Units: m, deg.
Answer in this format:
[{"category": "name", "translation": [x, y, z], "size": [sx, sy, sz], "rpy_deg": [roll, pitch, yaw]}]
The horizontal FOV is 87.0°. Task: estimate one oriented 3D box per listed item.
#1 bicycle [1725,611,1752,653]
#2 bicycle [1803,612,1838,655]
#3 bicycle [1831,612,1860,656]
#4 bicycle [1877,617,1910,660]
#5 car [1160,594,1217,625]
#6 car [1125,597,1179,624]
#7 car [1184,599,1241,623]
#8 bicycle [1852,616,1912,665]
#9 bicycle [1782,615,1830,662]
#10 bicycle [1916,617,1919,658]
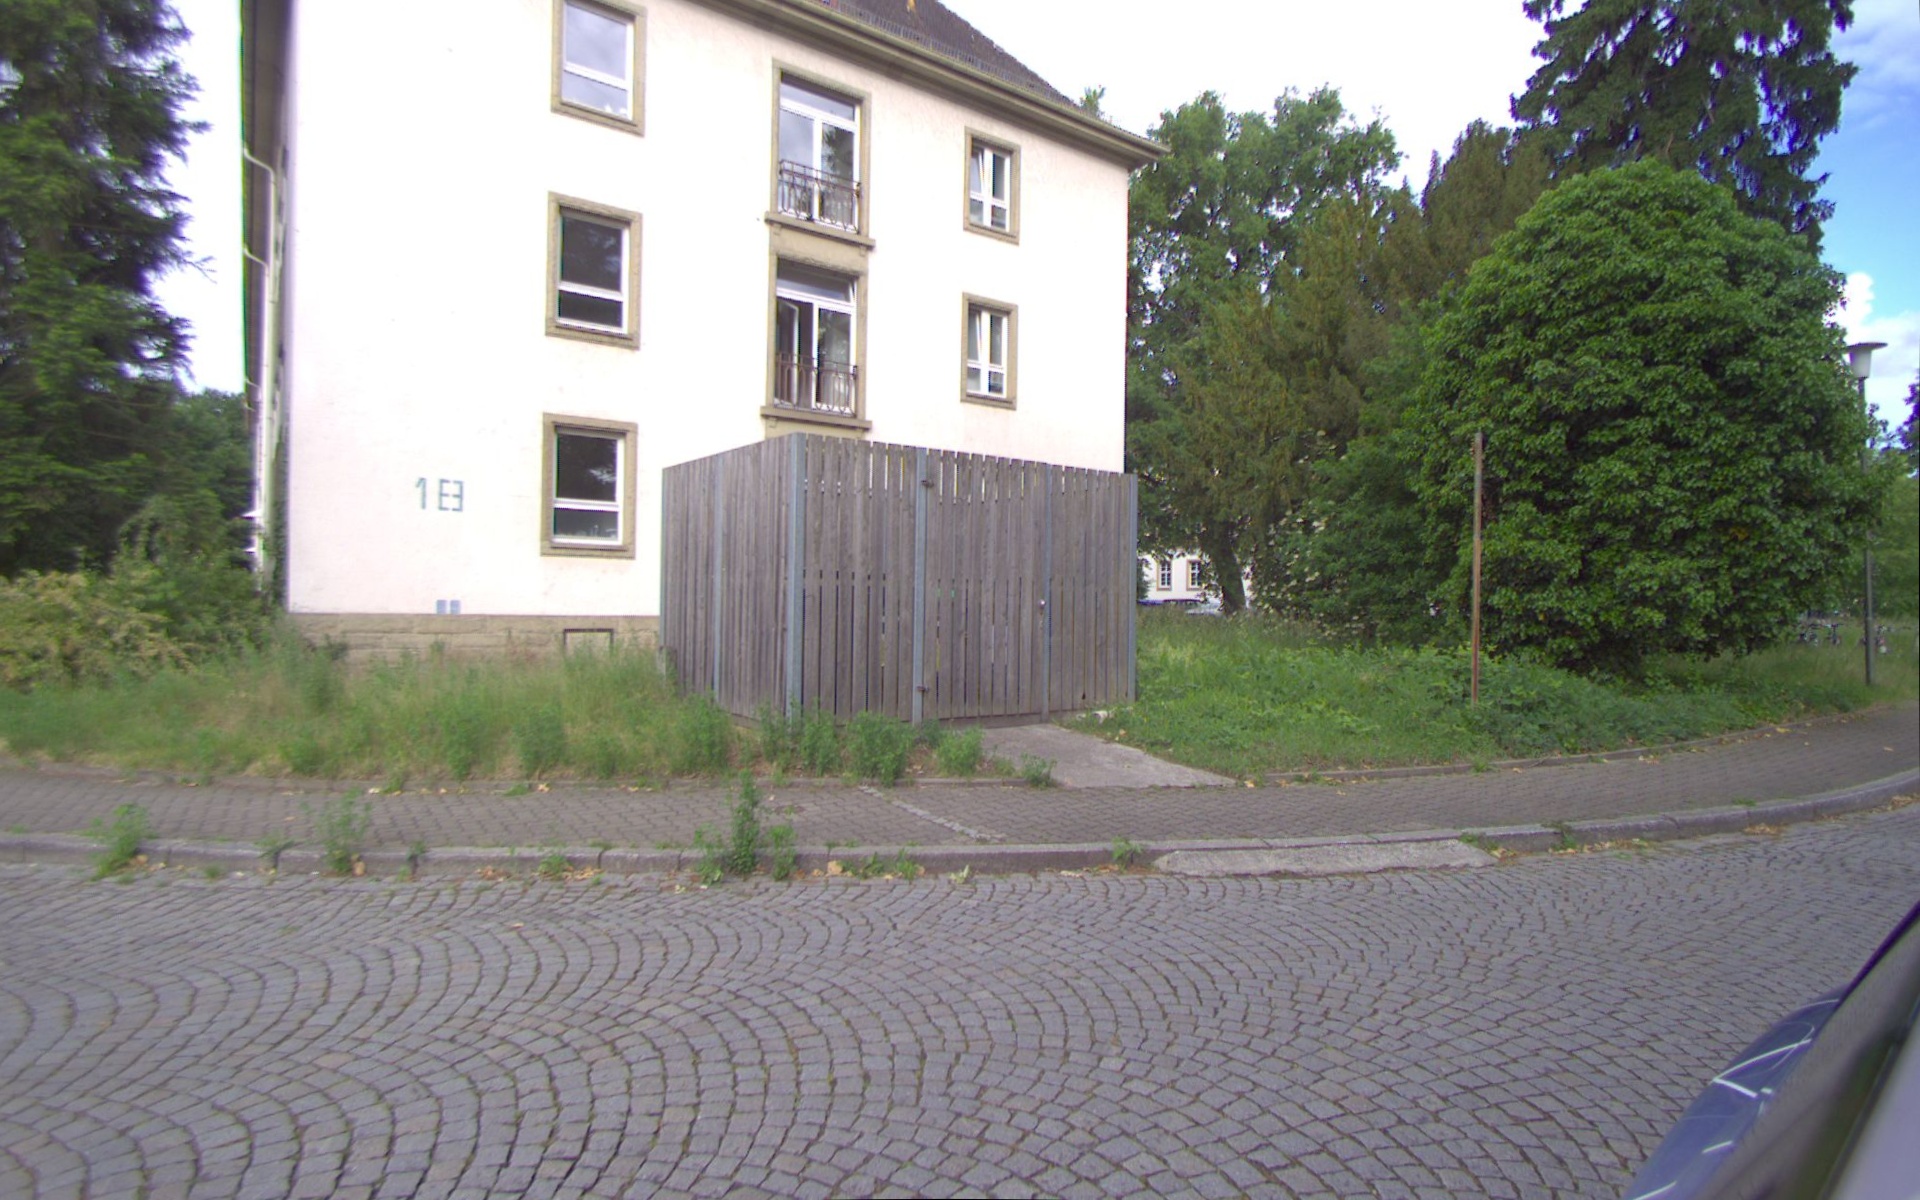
[{"category": "bicycle", "translation": [21.724, 0.873, 28.246], "size": [0.440, 1.126, 1.626], "rpy_deg": [0, 0, 43]}, {"category": "bicycle", "translation": [23.193, 0.882, 27.293], "size": [0.474, 1.126, 1.745], "rpy_deg": [0, 0, 32]}, {"category": "bicycle", "translation": [23.470, 0.883, 26.832], "size": [0.475, 1.126, 1.741], "rpy_deg": [0, 0, 37]}, {"category": "bicycle", "translation": [24.339, 0.979, 26.408], "size": [0.475, 1.020, 1.645], "rpy_deg": [0, 1, 37]}, {"category": "car", "translation": [13.006, 0.538, 57.675], "size": [3.188, 1.682, 1.439], "rpy_deg": [1, 0, -36]}, {"category": "car", "translation": [11.537, 0.635, 60.625], "size": [3.188, 1.585, 1.384], "rpy_deg": [1, 0, -36]}, {"category": "car", "translation": [13.853, 0.606, 55.478], "size": [3.188, 1.233, 1.297], "rpy_deg": [1, 0, -36]}, {"category": "bicycle", "translation": [21.677, 0.931, 23.815], "size": [0.612, 1.078, 1.807], "rpy_deg": [0, 0, 28]}, {"category": "bicycle", "translation": [20.544, 0.919, 24.590], "size": [0.546, 1.078, 1.737], "rpy_deg": [0, 0, 28]}, {"category": "bicycle", "translation": [24.854, 0.983, 25.827], "size": [0.475, 1.020, 1.645], "rpy_deg": [0, 1, 37]}]
